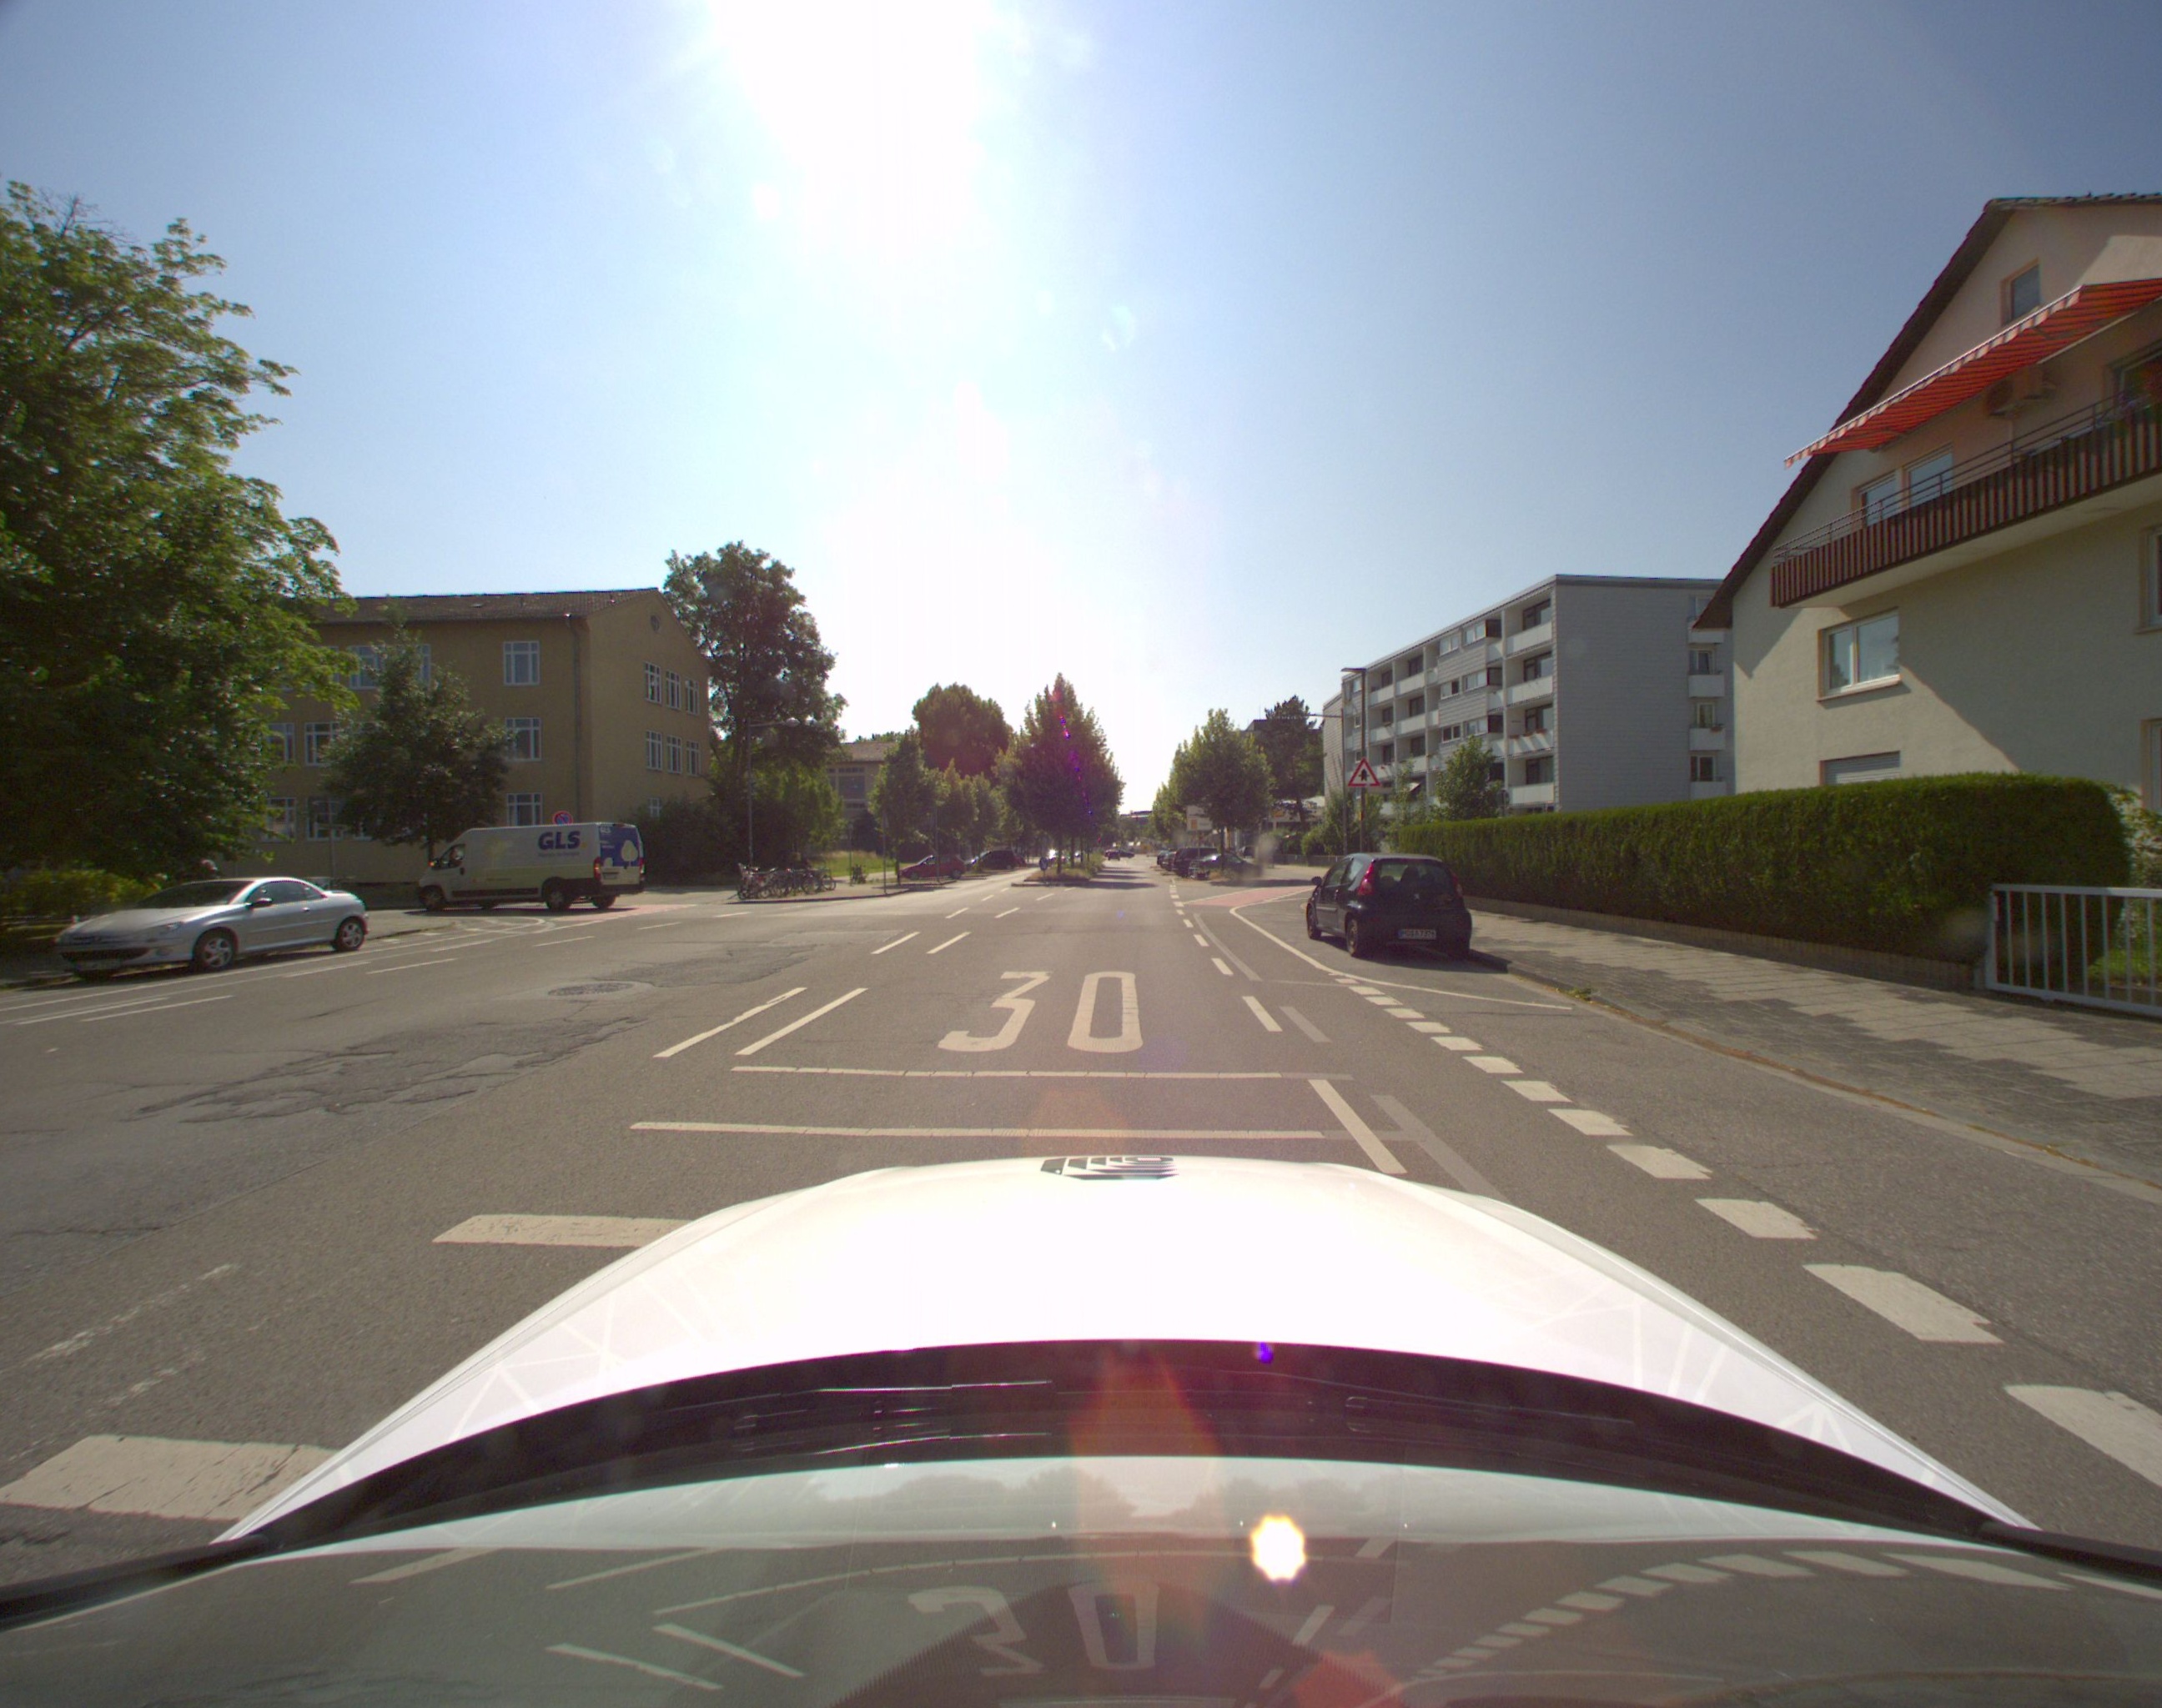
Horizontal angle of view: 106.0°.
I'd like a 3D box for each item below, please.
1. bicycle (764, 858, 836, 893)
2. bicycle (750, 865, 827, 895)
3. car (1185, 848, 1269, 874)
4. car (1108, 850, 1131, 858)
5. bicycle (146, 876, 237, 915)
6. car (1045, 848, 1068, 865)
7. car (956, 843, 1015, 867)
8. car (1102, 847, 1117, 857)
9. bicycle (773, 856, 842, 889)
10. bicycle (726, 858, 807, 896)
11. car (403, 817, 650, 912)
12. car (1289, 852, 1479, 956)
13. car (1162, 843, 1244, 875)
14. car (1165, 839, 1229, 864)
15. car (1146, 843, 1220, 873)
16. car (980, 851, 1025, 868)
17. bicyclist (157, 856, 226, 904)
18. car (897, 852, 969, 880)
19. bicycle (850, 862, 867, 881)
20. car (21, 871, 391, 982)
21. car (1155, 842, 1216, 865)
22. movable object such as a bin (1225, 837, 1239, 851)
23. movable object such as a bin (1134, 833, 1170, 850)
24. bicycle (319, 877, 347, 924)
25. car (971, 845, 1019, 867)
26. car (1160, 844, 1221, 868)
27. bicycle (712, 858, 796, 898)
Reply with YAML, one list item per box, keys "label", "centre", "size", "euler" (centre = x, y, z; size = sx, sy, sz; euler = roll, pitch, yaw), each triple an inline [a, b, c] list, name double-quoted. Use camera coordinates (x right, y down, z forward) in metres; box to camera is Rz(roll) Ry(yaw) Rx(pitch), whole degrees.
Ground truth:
- label: "bicycle"
  centre: [-10.892, 0.818, 31.616]
  size: [2.507, 1.256, 0.739]
  euler: [-2, 1, 0]
- label: "bicycle"
  centre: [-10.862, 0.944, 30.282]
  size: [2.536, 0.987, 0.739]
  euler: [-2, 1, 0]
- label: "car"
  centre: [7.576, 0.330, 42.279]
  size: [4.004, 1.236, 1.739]
  euler: [-1, 0, -23]
- label: "car"
  centre: [6.244, -0.001, 132.356]
  size: [3.591, 1.377, 1.638]
  euler: [-1, 0, 0]
- label: "bicycle"
  centre: [-27.480, 1.279, 25.160]
  size: [2.523, 1.113, 0.965]
  euler: [-2, 1, 20]
- label: "car"
  centre: [-2.365, 0.189, 79.076]
  size: [1.734, 1.547, 4.077]
  euler: [-2, 0, 4]
- label: "car"
  centre: [-7.567, 0.051, 64.944]
  size: [4.206, 1.816, 1.983]
  euler: [-2, 1, -35]
- label: "car"
  centre: [4.000, -0.295, 116.679]
  size: [1.987, 1.398, 3.999]
  euler: [-1, 0, 0]
- label: "bicycle"
  centre: [-11.027, 0.740, 32.881]
  size: [2.536, 1.256, 0.739]
  euler: [-1, 0, 0]
- label: "bicycle"
  centre: [-11.239, 0.805, 29.164]
  size: [2.536, 1.239, 0.739]
  euler: [-2, 1, 0]
- label: "car"
  centre: [-16.608, 0.301, 24.557]
  size: [6.081, 2.524, 2.288]
  euler: [-2, 0, 7]
- label: "car"
  centre: [4.579, 0.662, 12.932]
  size: [1.611, 1.390, 4.001]
  euler: [0, 0, 1]
- label: "car"
  centre: [6.771, 0.249, 45.209]
  size: [4.133, 1.640, 2.024]
  euler: [-1, 0, -31]
- label: "car"
  centre: [7.887, -0.175, 55.552]
  size: [3.997, 1.640, 1.743]
  euler: [-1, 1, -18]
- label: "car"
  centre: [6.049, 0.253, 48.064]
  size: [4.014, 1.640, 1.861]
  euler: [-1, -2, -32]
- label: "car"
  centre: [-7.265, 0.501, 75.633]
  size: [3.857, 1.423, 1.698]
  euler: [-1, 0, -33]
- label: "bicyclist"
  centre: [-27.447, 0.792, 25.135]
  size: [1.339, 1.403, 0.965]
  euler: [-2, 1, 21]
- label: "car"
  centre: [-8.907, 0.665, 48.826]
  size: [3.998, 1.466, 1.988]
  euler: [-2, 1, -18]
- label: "bicycle"
  centre: [-11.040, 0.855, 40.433]
  size: [0.519, 0.903, 1.270]
  euler: [-2, 0, -2]
- label: "car"
  centre: [-13.480, 1.014, 12.985]
  size: [1.717, 1.266, 3.994]
  euler: [-2, 1, -5]
- label: "car"
  centre: [8.317, -0.054, 64.648]
  size: [4.762, 1.660, 1.736]
  euler: [-1, 0, -31]
- label: "movable object such as a bin"
  centre: [17.865, -1.199, 96.211]
  size: [1.303, 1.592, 1.396]
  euler: [-3, 0, 0]
- label: "movable object such as a bin"
  centre: [19.046, -3.395, 218.677]
  size: [9.630, 4.549, 3.168]
  euler: [-1, 0, 4]
- label: "bicycle"
  centre: [-18.585, 1.144, 20.230]
  size: [1.694, 1.081, 0.380]
  euler: [0, 1, 44]
- label: "car"
  centre: [-7.461, 0.164, 70.940]
  size: [3.780, 1.772, 1.805]
  euler: [-1, 0, -24]
- label: "car"
  centre: [7.833, 0.137, 58.467]
  size: [3.986, 1.640, 1.747]
  euler: [-1, 0, -10]
- label: "bicycle"
  centre: [-11.291, 0.821, 28.181]
  size: [2.536, 1.256, 0.739]
  euler: [-2, 1, 0]
